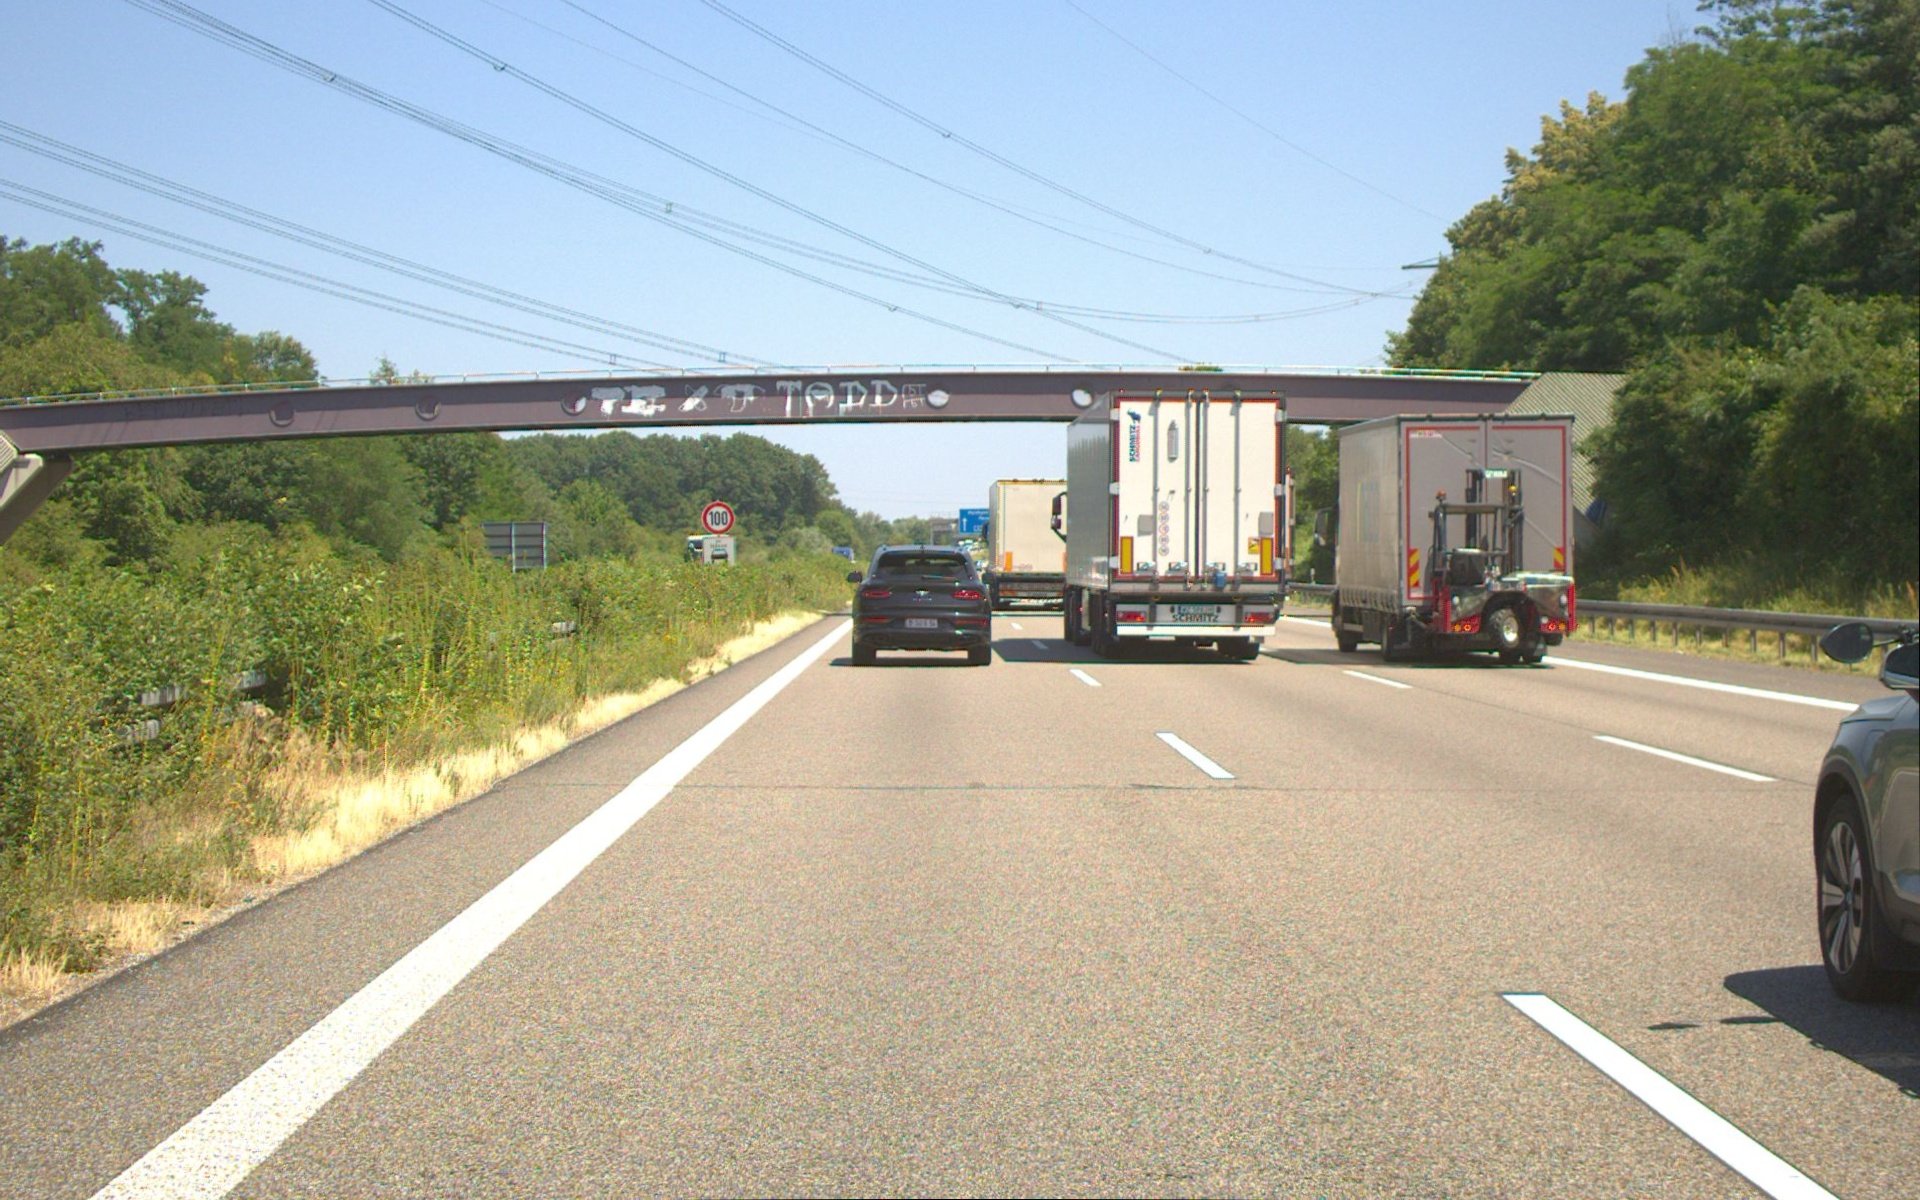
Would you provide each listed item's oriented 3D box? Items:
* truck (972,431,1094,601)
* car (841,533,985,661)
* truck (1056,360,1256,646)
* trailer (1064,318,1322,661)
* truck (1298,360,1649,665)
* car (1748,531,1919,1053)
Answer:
[{"bbox_3d":[2.233,-2.627,109.681,3.512,5.149,10.259,1,1,-1],"label":"truck"},{"bbox_3d":[-0.725,-0.077,50.042,1.993,1.766,4.000,0,1,-2],"label":"car"},{"bbox_3d":[3.472,-1.708,62.706,3.087,4.868,6.598,1,0,-1],"label":"truck"},{"bbox_3d":[3.543,-1.644,55.625,3.087,4.868,12.258,1,0,-1],"label":"trailer"},{"bbox_3d":[7.826,-1.291,54.367,3.571,4.230,11.652,1,0,-1],"label":"truck"},{"bbox_3d":[3.901,0.599,10.372,1.879,1.607,4.702,0,1,-1],"label":"car"}]
